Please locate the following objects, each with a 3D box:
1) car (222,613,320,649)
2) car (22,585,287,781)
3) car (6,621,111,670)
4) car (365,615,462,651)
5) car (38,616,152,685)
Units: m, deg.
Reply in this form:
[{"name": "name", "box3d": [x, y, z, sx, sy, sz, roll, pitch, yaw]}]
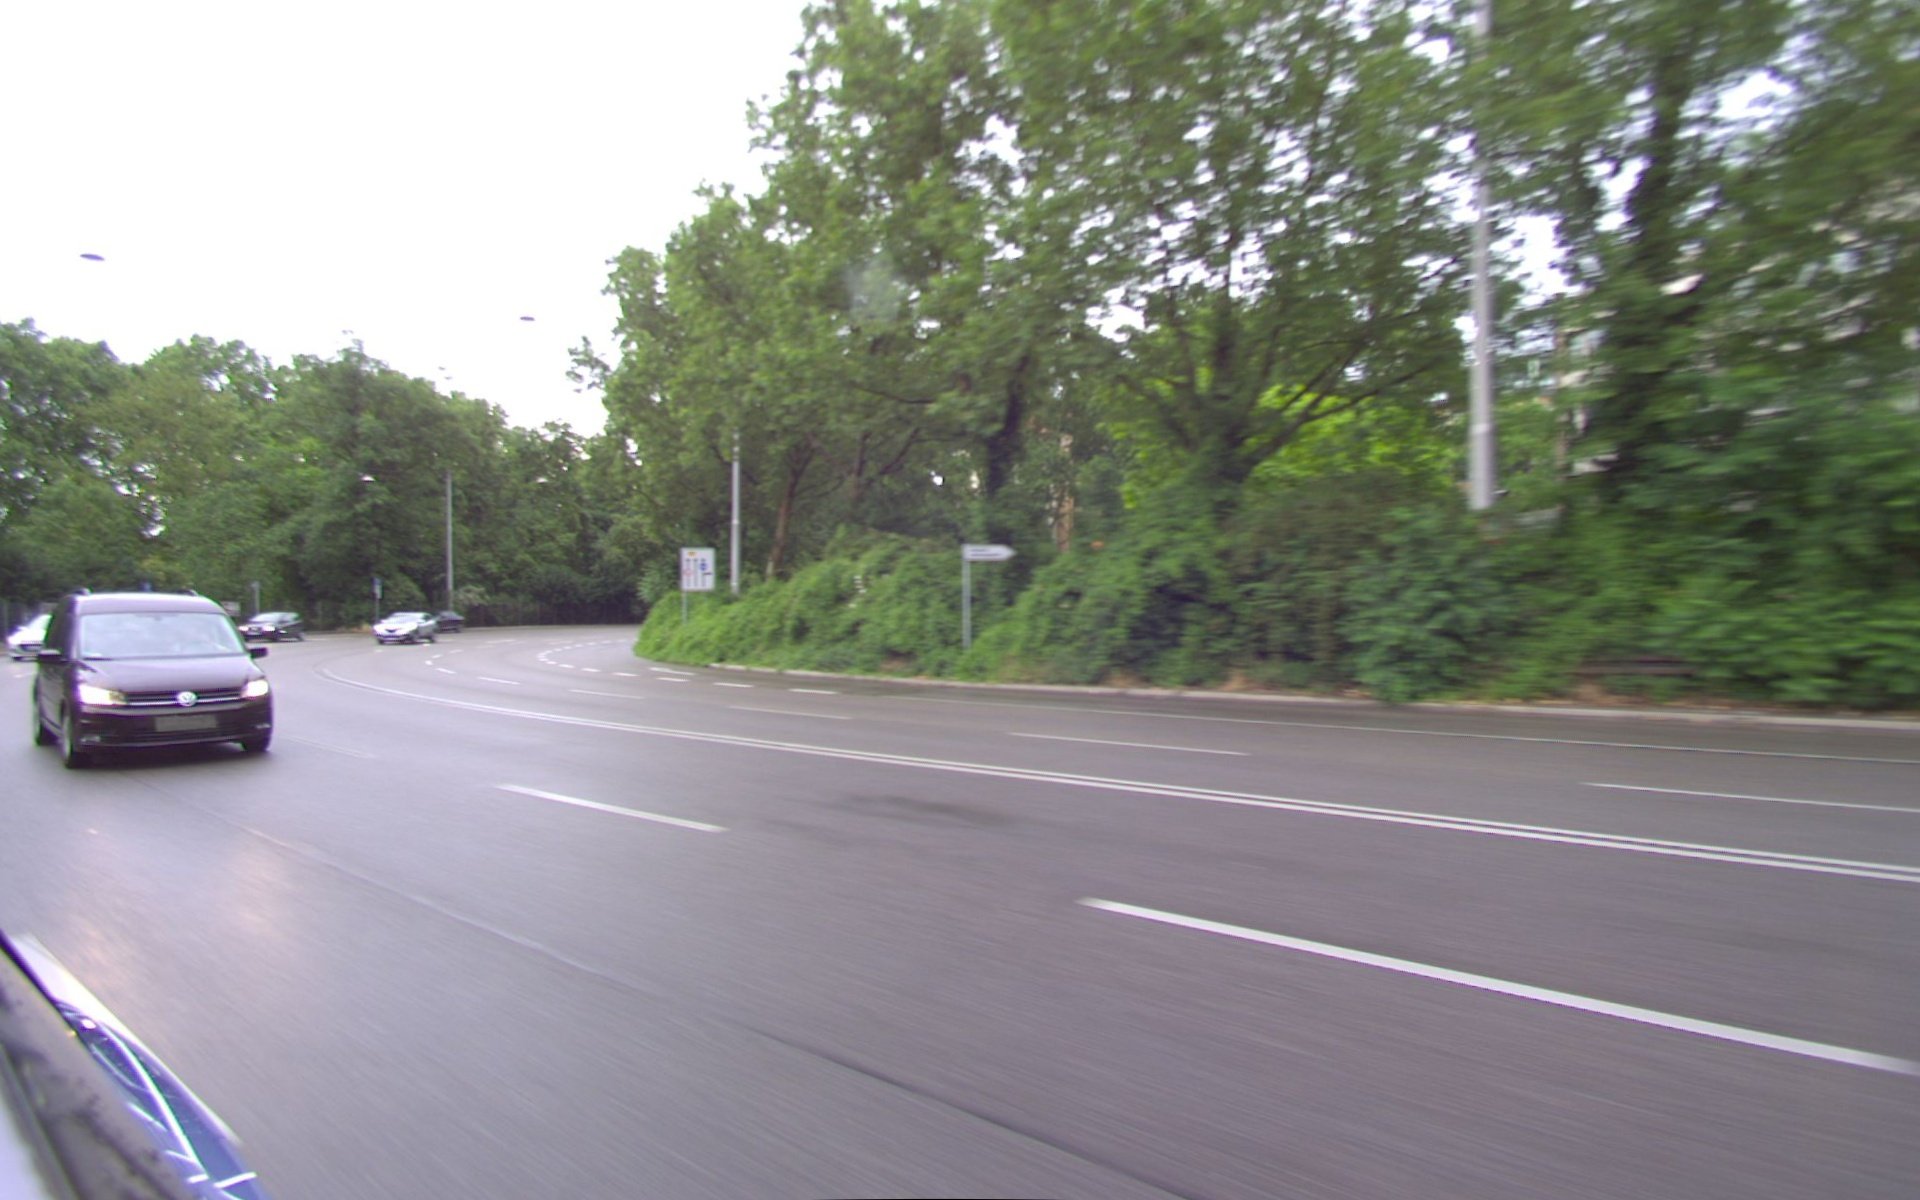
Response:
[{"name": "car", "box3d": [-35.479, 1.560, 52.240, 1.978, 1.758, 3.988, 0, -1, 9]}, {"name": "car", "box3d": [-9.201, 0.792, 11.432, 4.125, 1.813, 1.771, -1, -1, 43]}, {"name": "car", "box3d": [-29.645, 1.455, 33.415, 1.765, 1.464, 4.012, 0, -1, -29]}, {"name": "car", "box3d": [-28.335, 1.682, 52.621, 1.978, 1.758, 4.639, 0, -1, 10]}, {"name": "car", "box3d": [-21.817, 1.218, 25.663, 1.900, 1.552, 4.009, 0, -1, -36]}]
